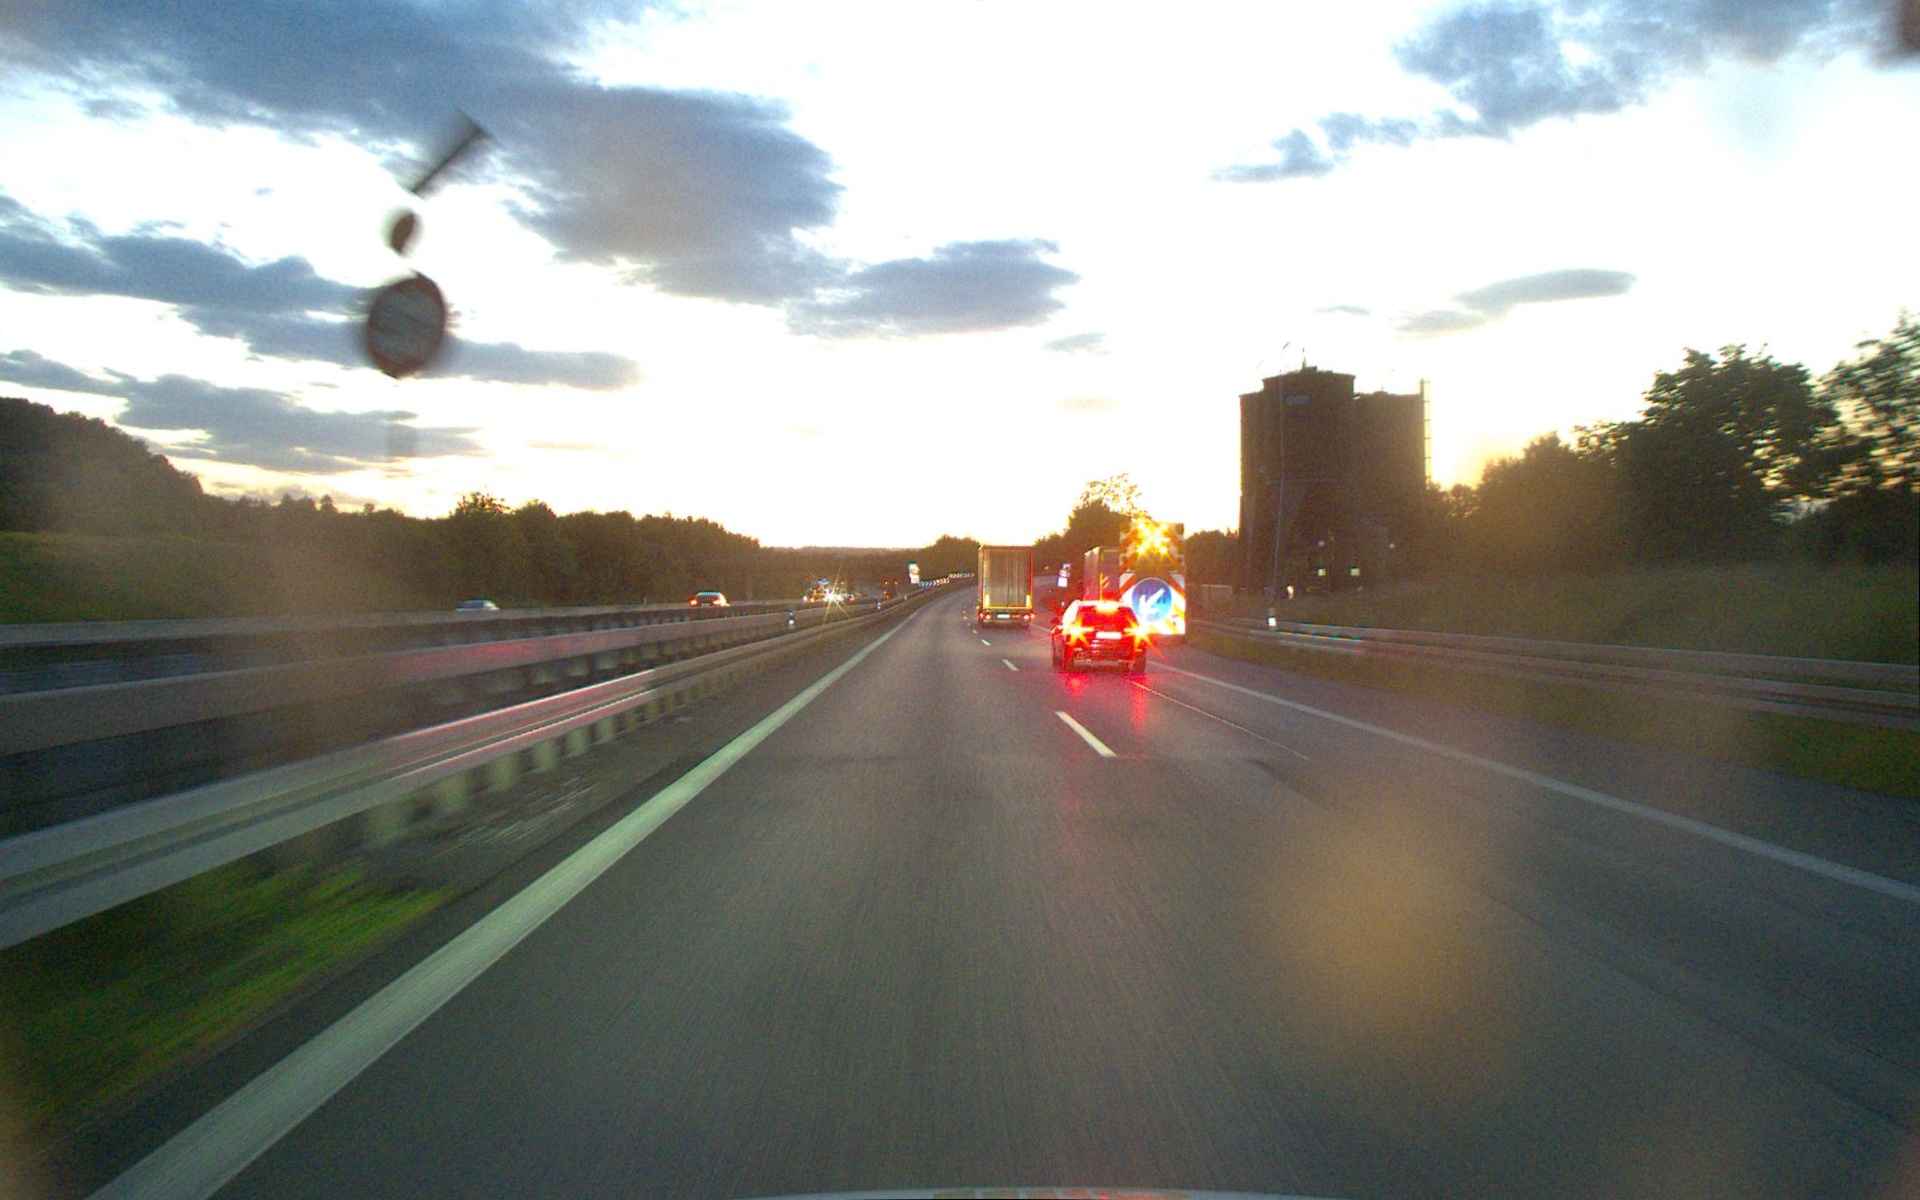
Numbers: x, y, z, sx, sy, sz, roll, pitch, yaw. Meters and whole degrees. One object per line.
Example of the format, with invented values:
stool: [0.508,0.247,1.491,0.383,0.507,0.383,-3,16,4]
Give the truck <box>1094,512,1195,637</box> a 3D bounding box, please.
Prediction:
truck: [6.347,-0.853,57.718,2.731,4.130,6.410,0,0,-1]

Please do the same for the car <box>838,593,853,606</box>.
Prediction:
car: [-14.051,-0.080,203.554,1.604,1.573,3.394,-2,0,0]

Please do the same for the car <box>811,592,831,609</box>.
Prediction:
car: [-13.701,0.030,162.946,1.678,1.633,3.721,-2,0,-1]

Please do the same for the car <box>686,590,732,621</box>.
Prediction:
car: [-13.585,0.305,89.789,1.834,1.588,4.519,-2,0,-1]

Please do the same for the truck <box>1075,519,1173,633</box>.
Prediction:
truck: [6.349,-0.898,65.492,2.854,4.183,9.148,0,0,-1]

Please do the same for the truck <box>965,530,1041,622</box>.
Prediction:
truck: [2.118,-1.174,86.082,3.438,4.376,9.889,-2,0,-1]

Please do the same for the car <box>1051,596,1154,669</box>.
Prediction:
car: [3.032,0.671,35.835,1.876,1.467,4.000,1,0,0]
